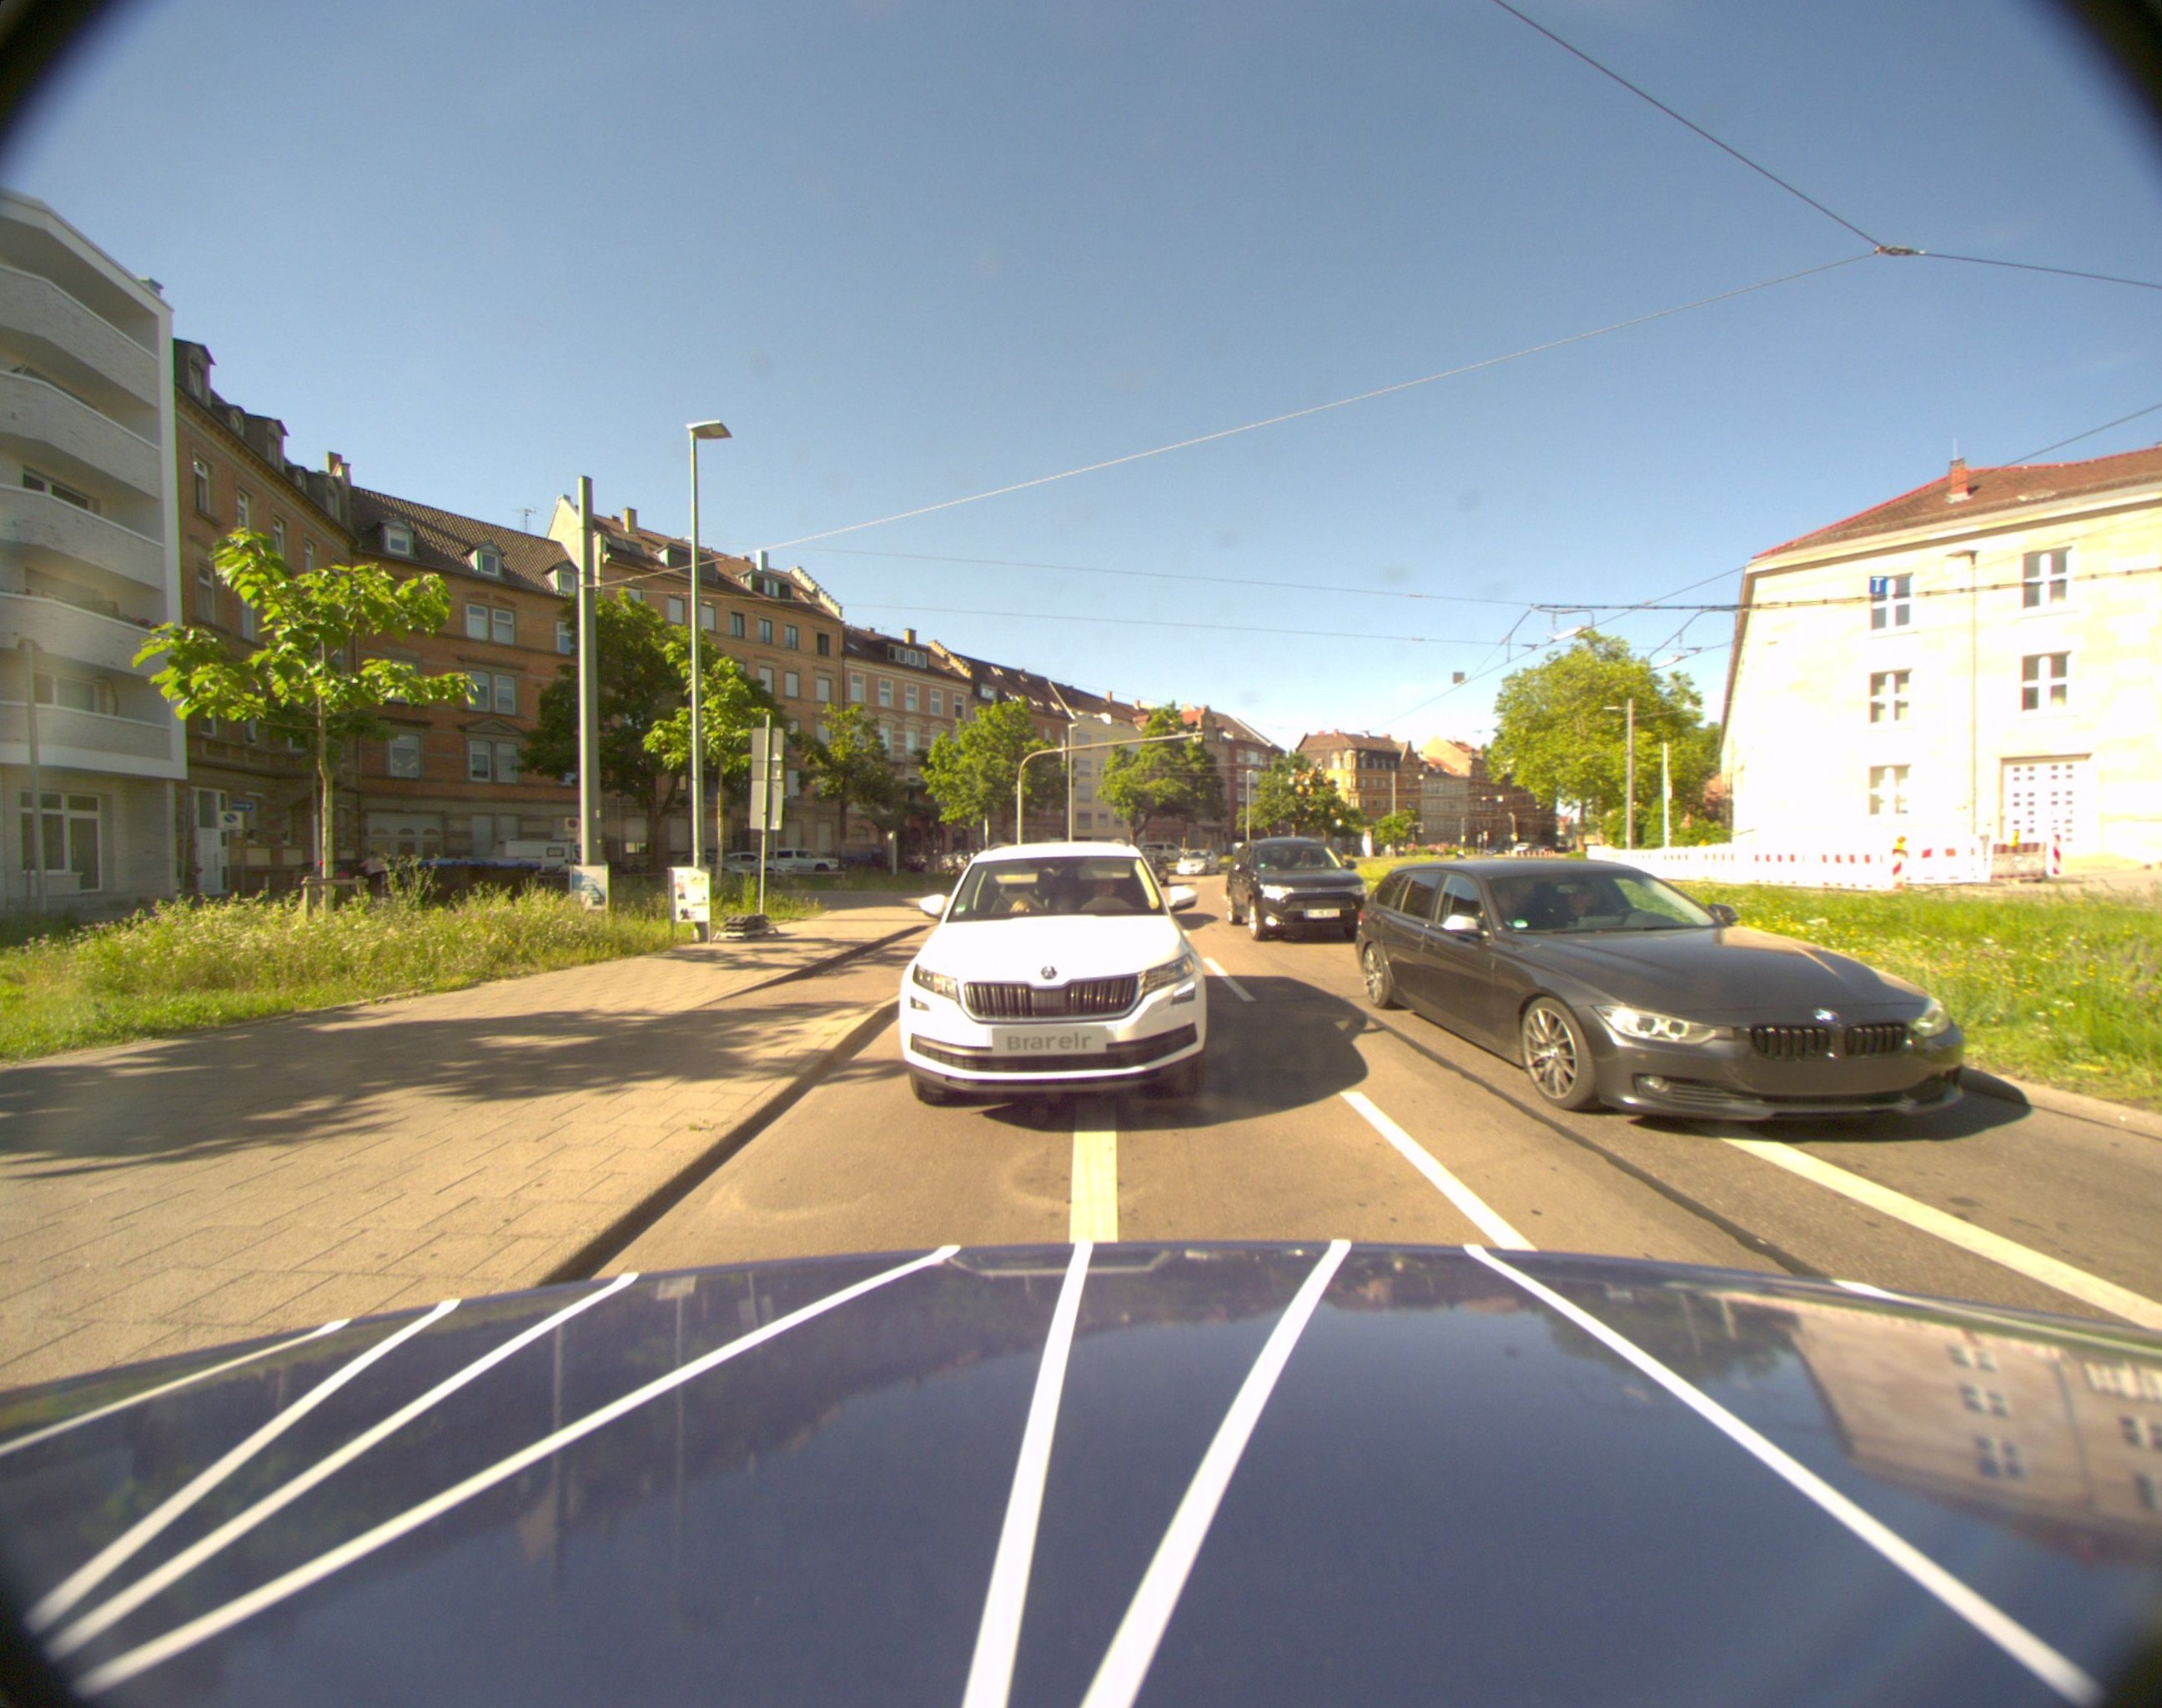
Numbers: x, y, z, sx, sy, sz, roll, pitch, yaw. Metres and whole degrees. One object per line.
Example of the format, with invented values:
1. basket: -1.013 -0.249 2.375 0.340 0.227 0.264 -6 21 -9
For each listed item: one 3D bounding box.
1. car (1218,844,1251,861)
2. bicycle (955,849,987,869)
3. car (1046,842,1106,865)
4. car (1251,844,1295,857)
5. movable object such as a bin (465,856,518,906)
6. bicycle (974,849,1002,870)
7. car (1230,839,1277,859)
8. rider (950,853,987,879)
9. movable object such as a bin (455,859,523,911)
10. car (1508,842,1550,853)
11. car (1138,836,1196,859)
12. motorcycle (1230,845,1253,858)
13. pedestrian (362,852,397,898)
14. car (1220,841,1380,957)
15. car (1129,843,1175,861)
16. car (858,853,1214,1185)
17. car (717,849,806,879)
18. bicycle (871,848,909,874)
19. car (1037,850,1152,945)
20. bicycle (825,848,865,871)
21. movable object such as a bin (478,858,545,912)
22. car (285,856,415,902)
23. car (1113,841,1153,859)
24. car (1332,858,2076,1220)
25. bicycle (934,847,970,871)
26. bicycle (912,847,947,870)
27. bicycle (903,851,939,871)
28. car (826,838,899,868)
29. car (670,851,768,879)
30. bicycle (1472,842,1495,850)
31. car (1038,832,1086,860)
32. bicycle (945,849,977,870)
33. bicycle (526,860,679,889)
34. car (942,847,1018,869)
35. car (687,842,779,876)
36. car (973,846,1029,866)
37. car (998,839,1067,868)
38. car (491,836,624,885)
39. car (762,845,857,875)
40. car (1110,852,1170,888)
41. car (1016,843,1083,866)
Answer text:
1. car: 20.011 -0.204 98.904 1.997 1.464 4.496 -16 -6 41
2. bicycle: -6.860 0.317 47.386 1.945 1.174 0.902 2 2 38
3. car: -0.403 -0.049 61.447 4.505 1.718 2.001 1 2 10
4. car: 22.829 -0.477 90.405 4.874 1.427 2.021 1 1 6
5. movable object such as a bin: -17.214 0.767 22.223 1.092 1.390 1.029 -1 1 -31
6. bicycle: -5.590 0.325 45.687 1.598 1.283 0.769 0 1 -11
7. car: 19.199 -0.580 84.841 4.875 2.063 2.021 1 1 4
8. rider: -5.409 0.565 36.718 1.678 1.169 0.502 -3 2 -34
9. movable object such as a bin: -16.474 0.835 21.191 1.323 1.390 1.108 -1 1 -31
10. car: 63.803 -0.972 108.239 4.946 1.445 1.839 1 2 39
11. car: 8.062 -0.597 70.906 5.179 2.002 2.102 1 2 10
12. motorcycle: 17.381 -0.252 82.320 2.262 1.412 0.854 0 1 -10
13. pedestrian: -24.472 0.707 26.497 0.641 1.568 0.773 0 2 39
14. car: 3.666 0.647 13.566 1.840 1.672 4.644 -2 0 5
15. car: 6.353 -0.216 68.248 4.025 1.470 1.813 1 2 5
16. car: -0.234 0.853 6.106 1.801 1.626 4.393 -1 1 0
17. car: -16.376 0.506 39.051 3.838 1.433 1.761 -1 1 8
18. bicycle: -10.874 0.398 43.188 2.094 1.390 0.789 -1 1 28
19. car: 0.335 0.750 15.414 1.998 1.608 4.264 -1 1 3
20. bicycle: -14.063 0.319 45.355 2.099 1.357 0.787 -1 1 -2
21. movable object such as a bin: -15.381 0.817 20.562 1.306 1.390 1.069 -1 1 -31
22. car: -25.900 0.835 27.113 2.002 1.428 4.099 -2 1 -24
23. car: 5.600 -0.419 81.277 1.994 1.789 4.636 2 1 38
24. car: 3.452 0.822 5.538 1.738 1.415 4.467 -4 1 1
25. bicycle: -7.509 0.278 44.263 2.094 1.357 0.789 0 1 34
26. bicycle: -9.171 0.272 46.043 2.094 1.357 0.789 -2 1 34
27. bicycle: -9.540 0.391 45.181 2.163 1.152 0.824 -1 1 35
28. car: -15.517 -0.089 54.250 1.994 1.966 4.734 2 1 38
29. car: -17.551 0.523 36.914 4.049 1.329 1.841 -1 1 15
30. bicycle: 75.845 -1.477 143.109 1.964 1.408 6.841 3 3 43
31. car: -1.745 -0.748 71.966 1.994 2.570 4.522 2 2 40
32. bicycle: -7.389 0.335 46.625 1.957 1.185 0.843 2 2 39
33. bicycle: -21.550 0.878 34.448 2.676 1.120 5.232 0 1 34
34. car: -6.814 0.262 51.424 4.747 1.372 2.047 -1 1 5
35. car: -21.378 0.297 46.782 1.994 1.966 4.734 2 1 39
36. car: -5.659 0.137 53.969 3.610 1.372 1.926 -1 1 5
37. car: -3.561 -0.051 56.334 4.874 2.002 2.101 1 2 5
38. car: -26.953 0.273 39.297 2.349 2.344 5.199 2 2 40
39. car: -14.777 0.310 41.423 4.464 1.556 1.939 -1 1 8
40. car: 2.687 0.671 33.497 1.887 1.419 4.381 -1 1 14
41. car: -2.416 -0.009 59.126 4.872 1.639 2.102 1 2 10
